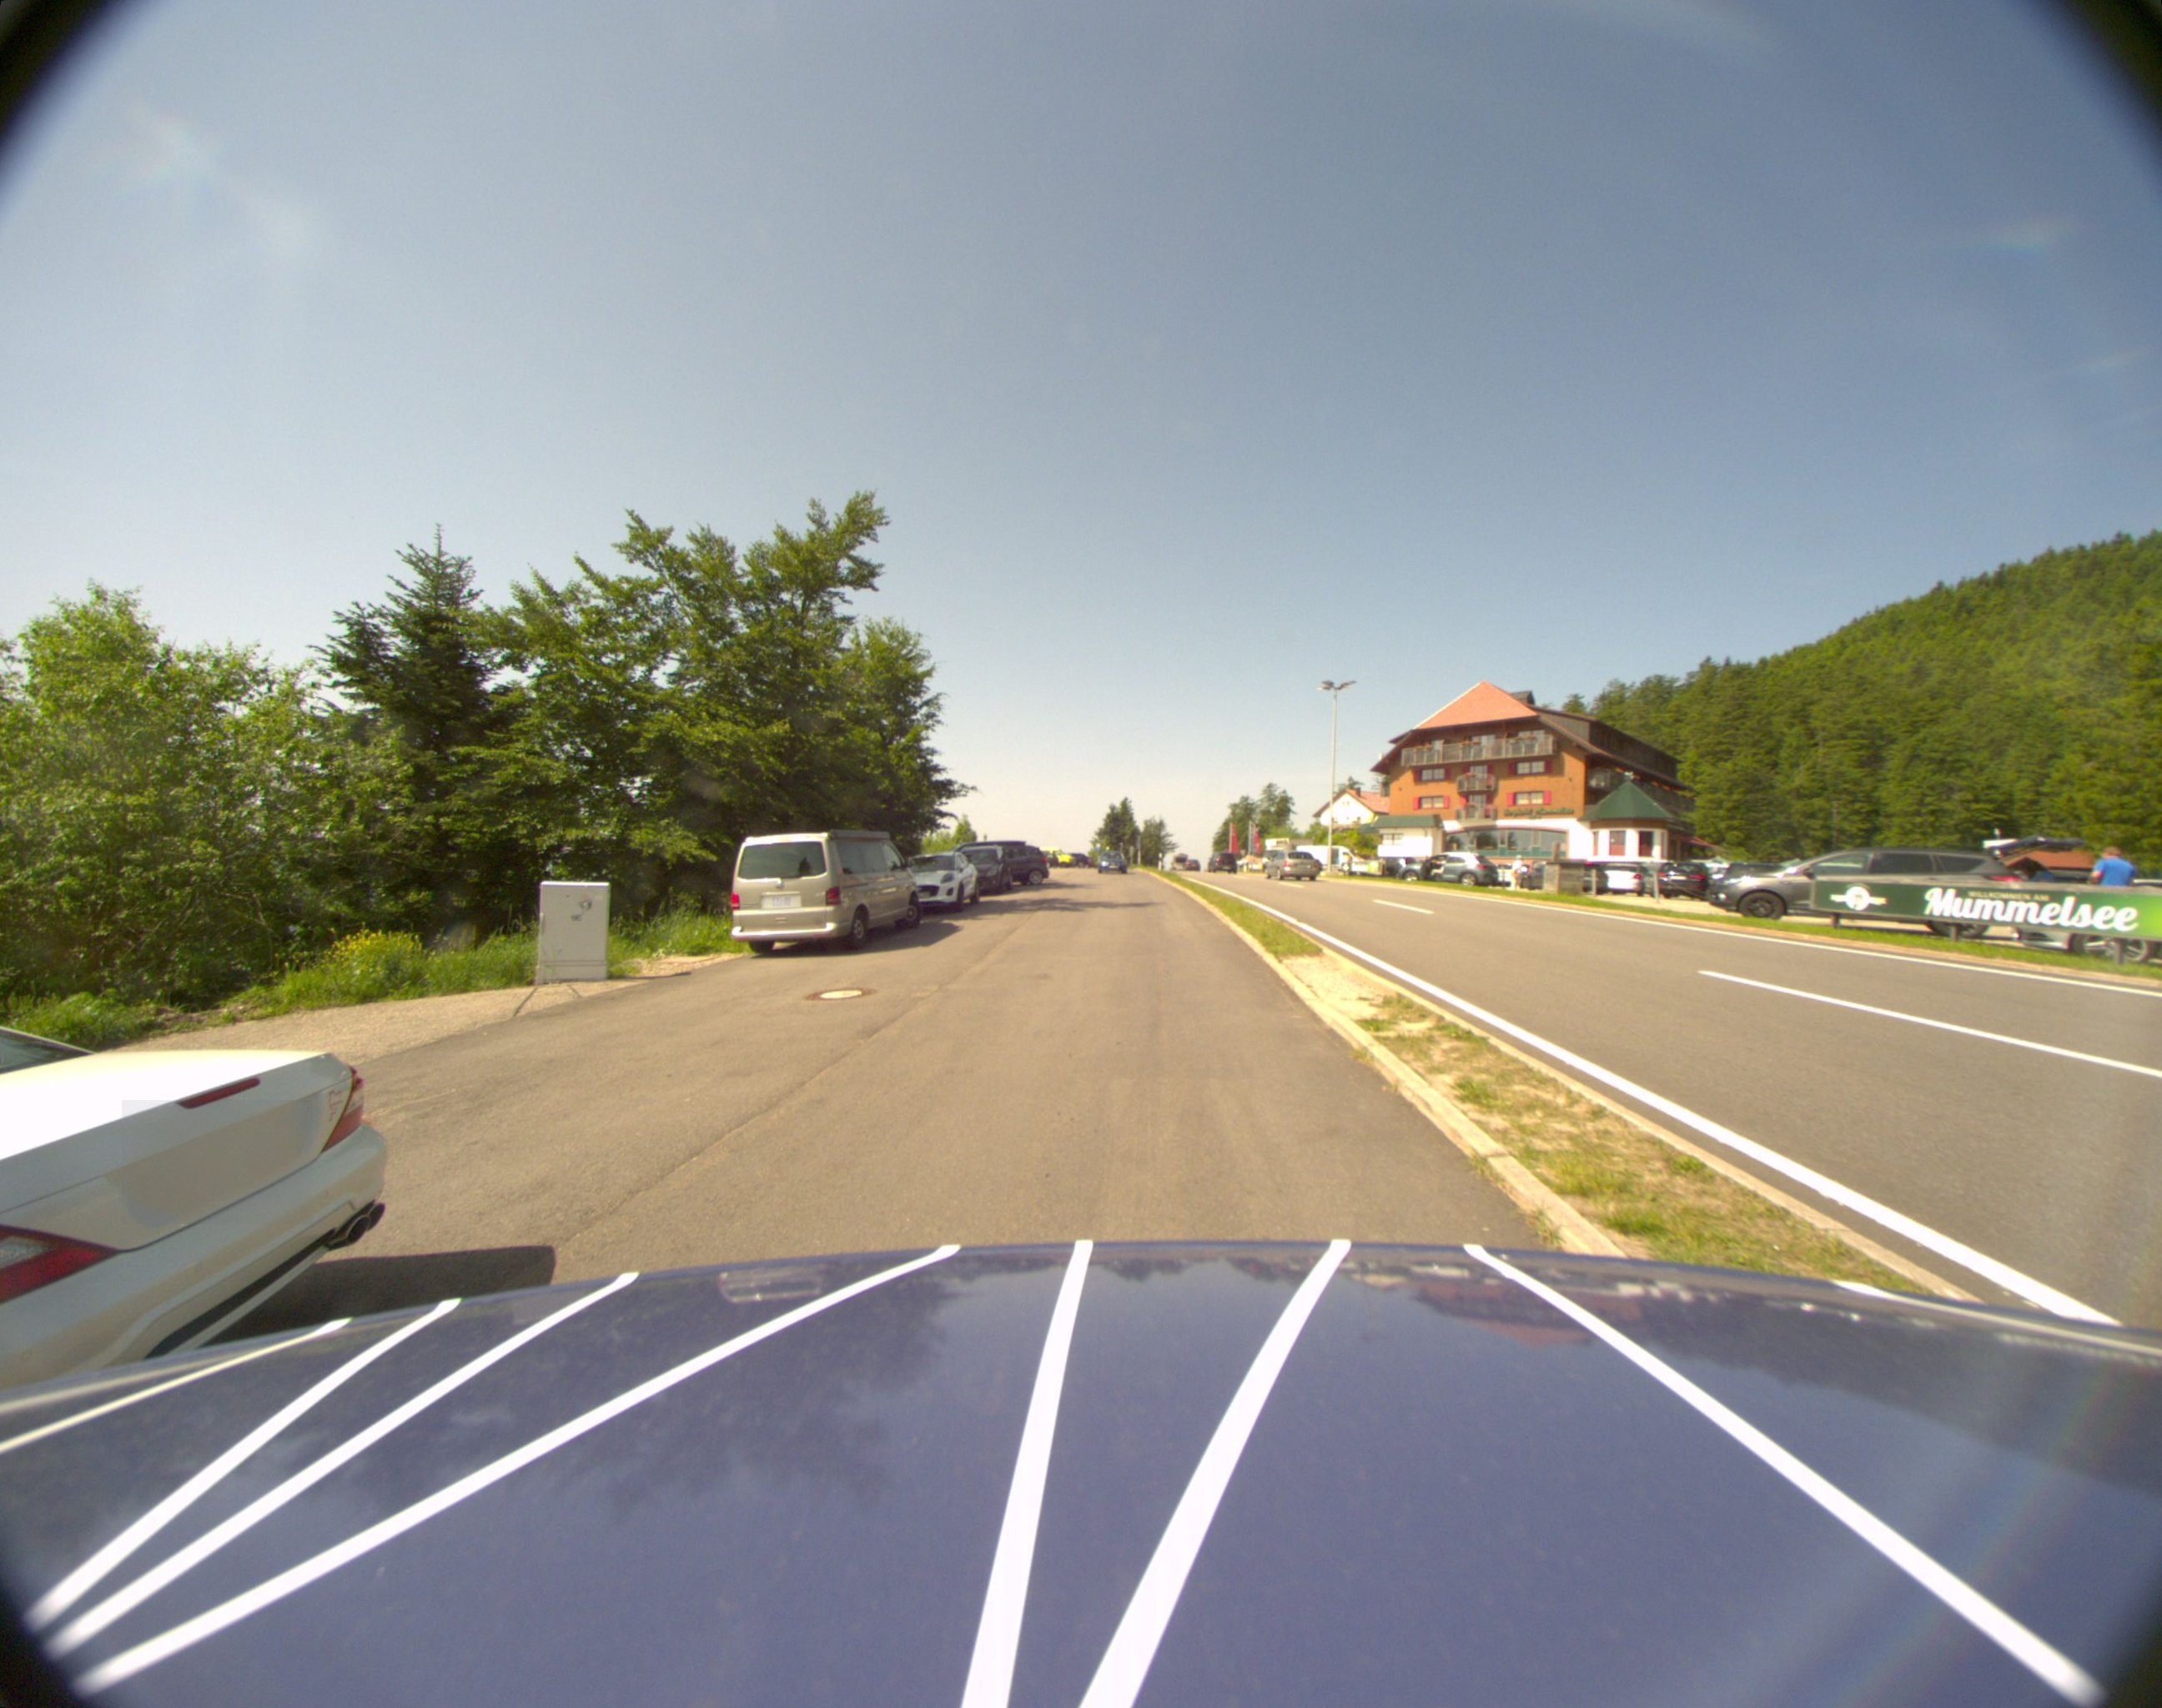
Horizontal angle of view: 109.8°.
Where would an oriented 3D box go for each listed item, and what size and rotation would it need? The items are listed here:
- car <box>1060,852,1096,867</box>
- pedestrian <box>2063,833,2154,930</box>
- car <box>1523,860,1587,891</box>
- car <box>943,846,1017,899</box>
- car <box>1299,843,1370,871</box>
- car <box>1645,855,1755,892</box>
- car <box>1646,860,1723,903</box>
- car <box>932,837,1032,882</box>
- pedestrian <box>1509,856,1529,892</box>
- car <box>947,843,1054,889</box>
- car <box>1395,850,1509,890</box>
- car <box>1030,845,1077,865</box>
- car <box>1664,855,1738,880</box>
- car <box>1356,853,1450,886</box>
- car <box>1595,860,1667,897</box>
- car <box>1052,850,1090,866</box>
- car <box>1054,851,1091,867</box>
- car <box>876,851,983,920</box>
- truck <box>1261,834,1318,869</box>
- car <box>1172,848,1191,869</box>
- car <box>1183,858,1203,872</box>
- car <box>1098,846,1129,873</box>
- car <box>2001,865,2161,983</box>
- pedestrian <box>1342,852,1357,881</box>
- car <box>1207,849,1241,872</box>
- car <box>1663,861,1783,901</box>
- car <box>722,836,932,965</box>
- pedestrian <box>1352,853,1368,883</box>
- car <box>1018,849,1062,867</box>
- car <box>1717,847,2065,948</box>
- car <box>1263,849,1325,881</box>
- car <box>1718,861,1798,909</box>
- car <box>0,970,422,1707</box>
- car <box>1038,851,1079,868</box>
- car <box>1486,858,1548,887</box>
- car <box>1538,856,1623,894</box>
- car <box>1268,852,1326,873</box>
[{"bbox_3d":[-0.319,0.604,87.305,3.908,1.605,1.877,1,1,4],"label":"car"},{"bbox_3d":[17.884,0.458,13.246,0.744,1.626,0.849,2,2,42],"label":"pedestrian"},{"bbox_3d":[25.360,1.096,40.631,4.104,1.504,1.818,1,1,-42],"label":"car"},{"bbox_3d":[-3.423,0.573,26.431,1.875,1.609,4.000,-3,1,1],"label":"car"},{"bbox_3d":[26.641,0.274,79.916,6.949,2.775,2.671,1,1,21],"label":"car"},{"bbox_3d":[31.020,0.948,38.143,4.082,1.619,1.828,2,1,45],"label":"car"},{"bbox_3d":[25.096,1.079,31.534,4.104,1.619,1.818,1,1,-42],"label":"car"},{"bbox_3d":[-4.810,0.250,36.814,4.463,1.914,1.873,-3,1,-17],"label":"car"},{"bbox_3d":[20.189,0.909,35.002,0.744,1.615,0.684,2,1,32],"label":"pedestrian"},{"bbox_3d":[-3.298,0.466,30.932,4.002,1.609,1.873,-3,1,-17],"label":"car"},{"bbox_3d":[16.900,0.672,34.760,4.258,1.619,1.828,2,1,45],"label":"car"},{"bbox_3d":[-2.671,0.104,74.666,4.455,1.914,1.877,1,1,4],"label":"car"},{"bbox_3d":[46.919,1.010,57.558,1.924,1.706,4.082,0,1,-44],"label":"car"},{"bbox_3d":[17.464,0.799,41.305,4.258,1.619,1.828,2,1,45],"label":"car"},{"bbox_3d":[24.971,1.072,34.456,4.104,1.504,1.818,1,1,-42],"label":"car"},{"bbox_3d":[-1.023,0.458,80.664,3.908,1.605,1.877,1,1,4],"label":"car"},{"bbox_3d":[-0.926,0.529,83.274,3.908,1.605,1.877,1,1,4],"label":"car"},{"bbox_3d":[-3.896,0.761,20.206,1.875,1.538,4.000,-3,1,1],"label":"car"},{"bbox_3d":[24.079,-0.265,87.431,2.876,3.798,9.037,-1,0,40],"label":"truck"},{"bbox_3d":[14.251,0.601,108.019,2.016,2.735,5.917,1,1,3],"label":"car"},{"bbox_3d":[12.674,1.277,86.286,1.710,1.429,4.449,1,1,1],"label":"car"},{"bbox_3d":[2.047,0.296,47.819,1.875,1.605,3.913,1,1,2],"label":"car"},{"bbox_3d":[14.867,0.930,9.233,4.488,1.422,1.726,2,1,44],"label":"car"},{"bbox_3d":[18.965,0.892,53.664,0.717,2.002,0.803,0,1,1],"label":"pedestrian"},{"bbox_3d":[11.070,0.462,59.118,1.998,1.638,4.567,1,1,2],"label":"car"},{"bbox_3d":[29.843,1.214,35.376,4.082,1.619,1.828,2,1,45],"label":"car"},{"bbox_3d":[-4.382,0.697,14.014,1.861,1.924,4.610,-3,0,5],"label":"car"},{"bbox_3d":[18.754,0.961,51.066,0.717,2.002,0.803,0,1,1],"label":"pedestrian"},{"bbox_3d":[-3.854,0.354,72.002,3.908,1.605,1.877,1,1,4],"label":"car"},{"bbox_3d":[15.835,0.739,15.261,4.538,1.646,1.726,2,1,44],"label":"car"},{"bbox_3d":[10.351,0.487,37.279,1.883,1.466,4.714,-1,1,2],"label":"car"},{"bbox_3d":[25.799,1.129,28.915,4.104,1.619,1.818,1,1,-42],"label":"car"},{"bbox_3d":[-4.469,1.182,1.491,4.414,1.288,1.754,-3,0,-15],"label":"car"},{"bbox_3d":[-2.296,0.555,77.880,3.908,1.605,1.877,1,1,4],"label":"car"},{"bbox_3d":[24.834,1.042,43.241,4.104,1.504,1.818,1,1,-42],"label":"car"},{"bbox_3d":[21.652,0.858,33.114,1.719,1.422,4.003,2,1,12],"label":"car"},{"bbox_3d":[17.500,0.656,61.615,4.082,1.518,1.828,2,1,41],"label":"car"}]
